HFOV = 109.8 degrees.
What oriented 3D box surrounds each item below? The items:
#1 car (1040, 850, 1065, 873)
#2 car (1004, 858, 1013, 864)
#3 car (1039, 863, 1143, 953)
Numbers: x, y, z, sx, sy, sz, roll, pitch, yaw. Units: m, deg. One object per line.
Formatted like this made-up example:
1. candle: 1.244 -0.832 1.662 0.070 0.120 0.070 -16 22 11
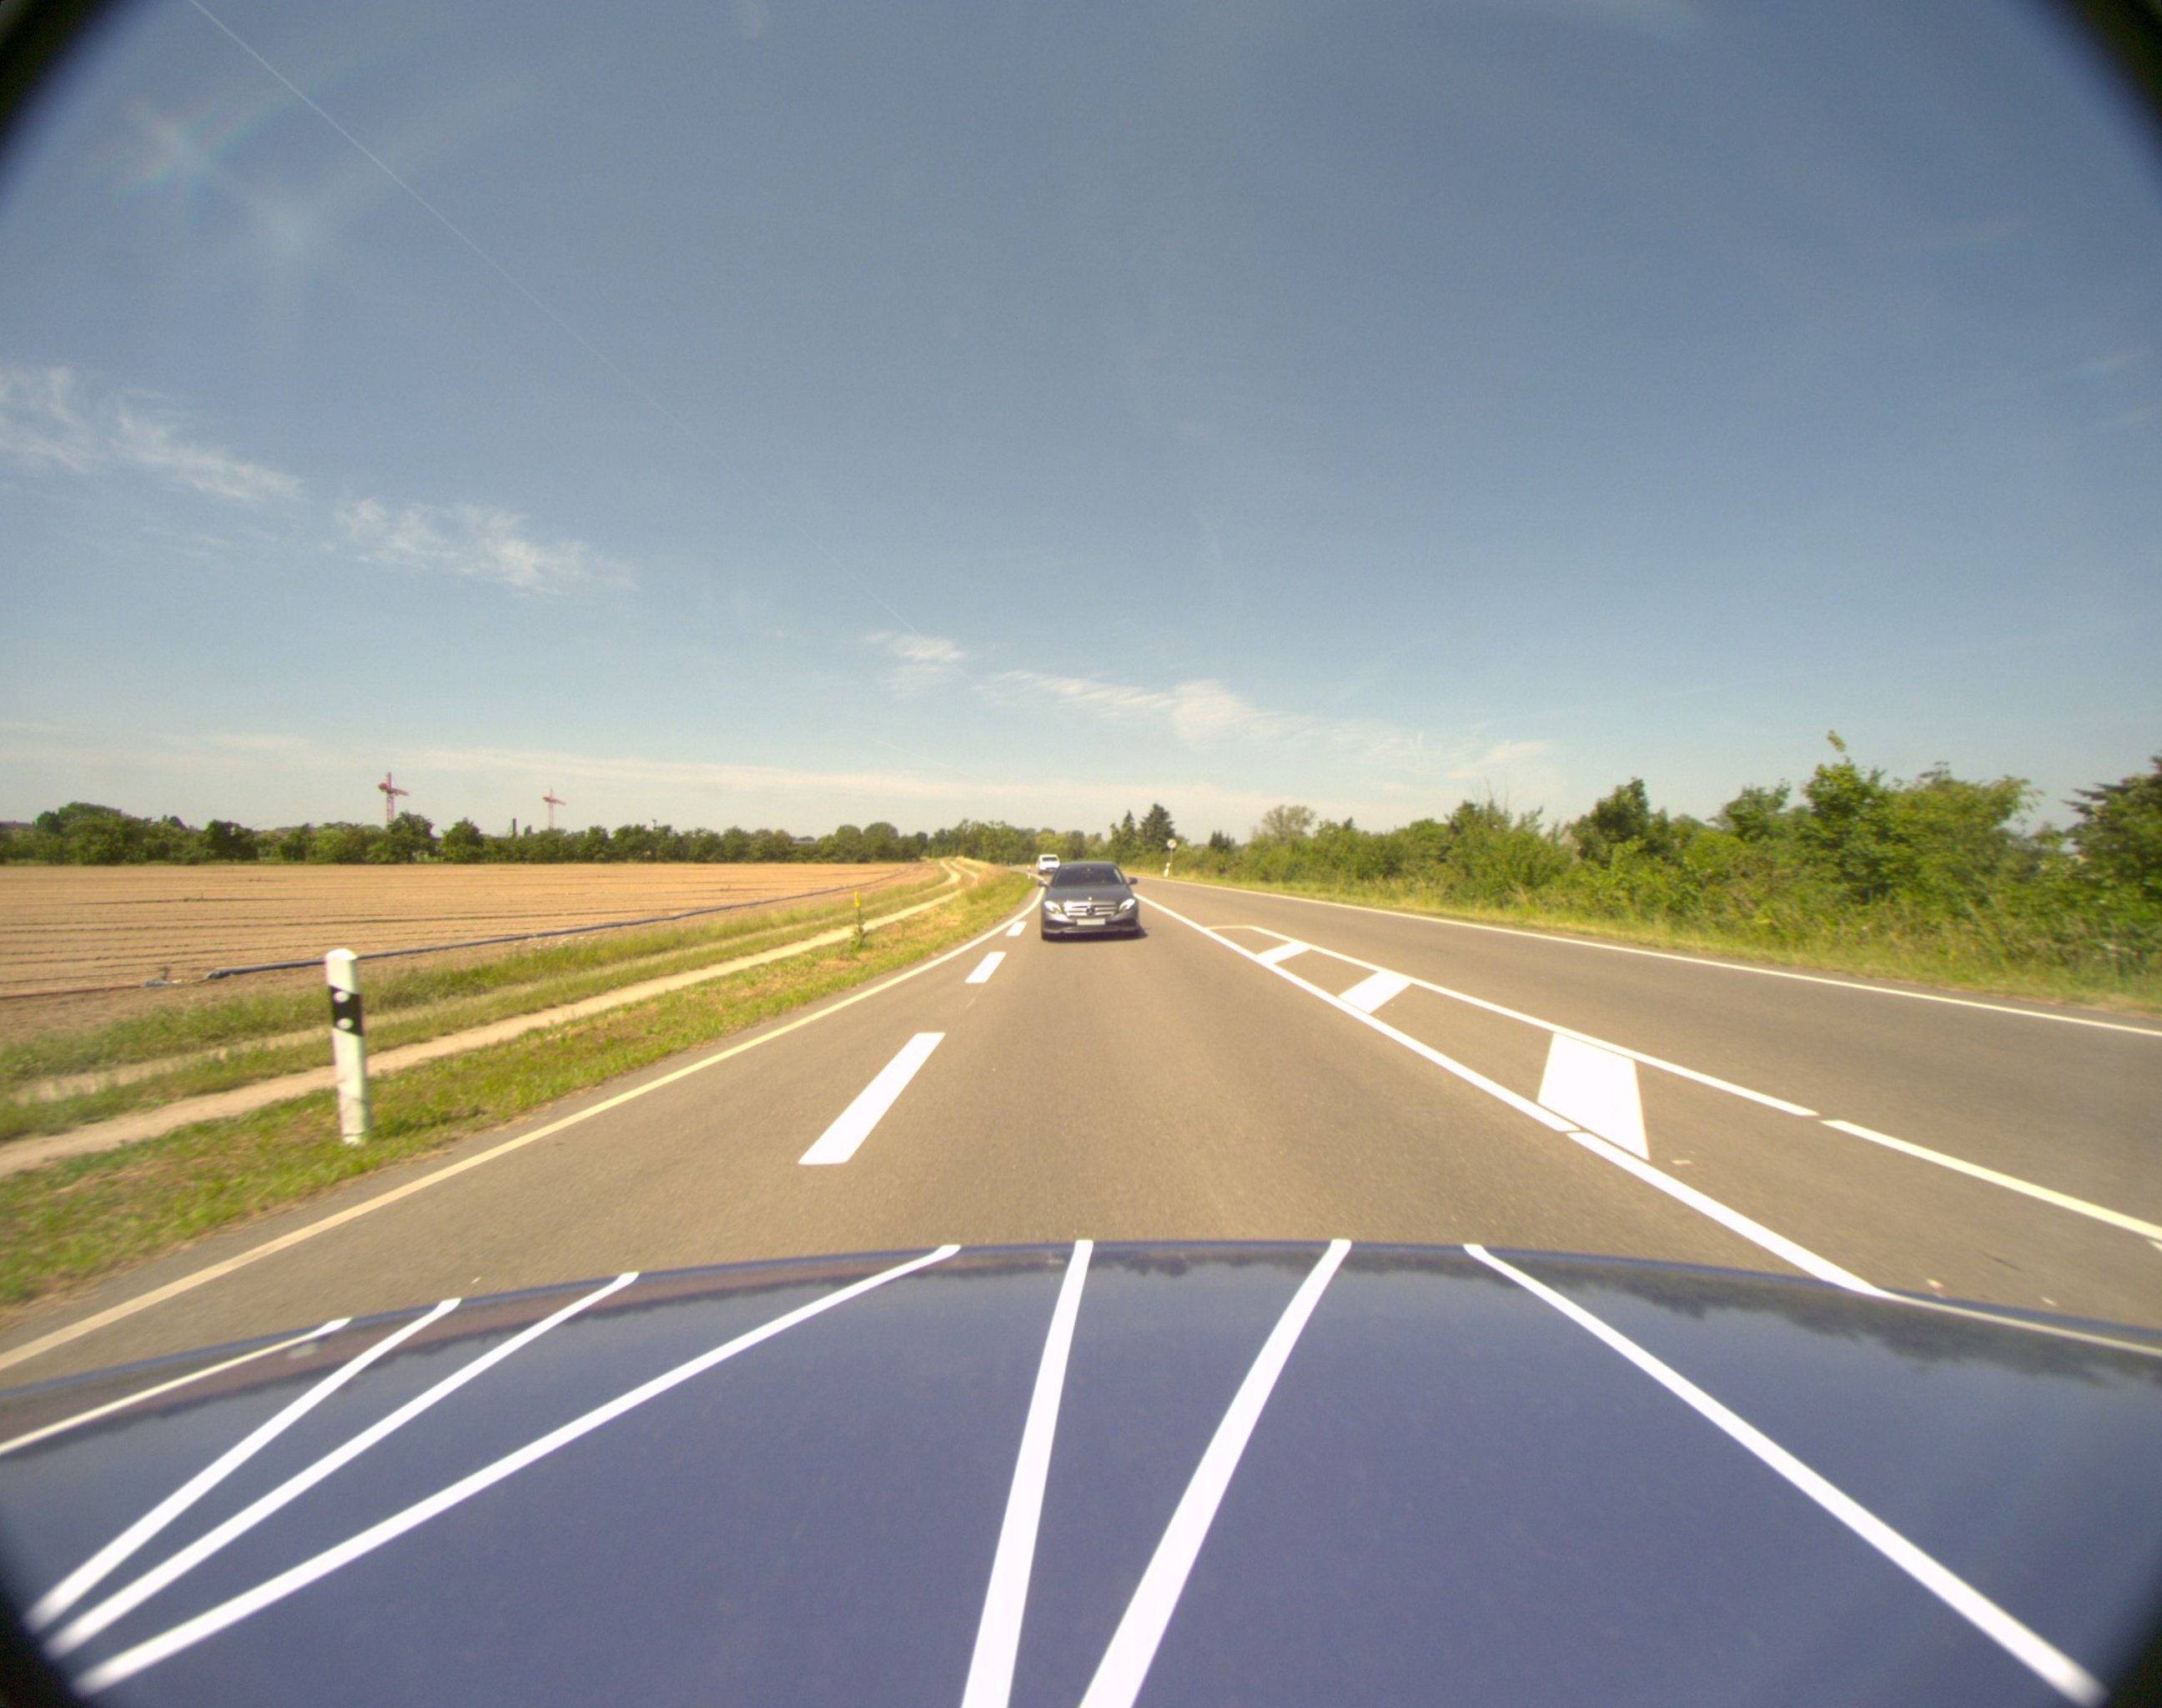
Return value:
1. car: -2.751 0.689 72.103 2.180 2.002 5.023 -3 0 -4
2. car: -17.489 1.708 183.350 1.698 1.355 3.822 -2 1 -11
3. car: 0.331 0.991 15.840 1.831 1.540 4.500 -1 0 4
